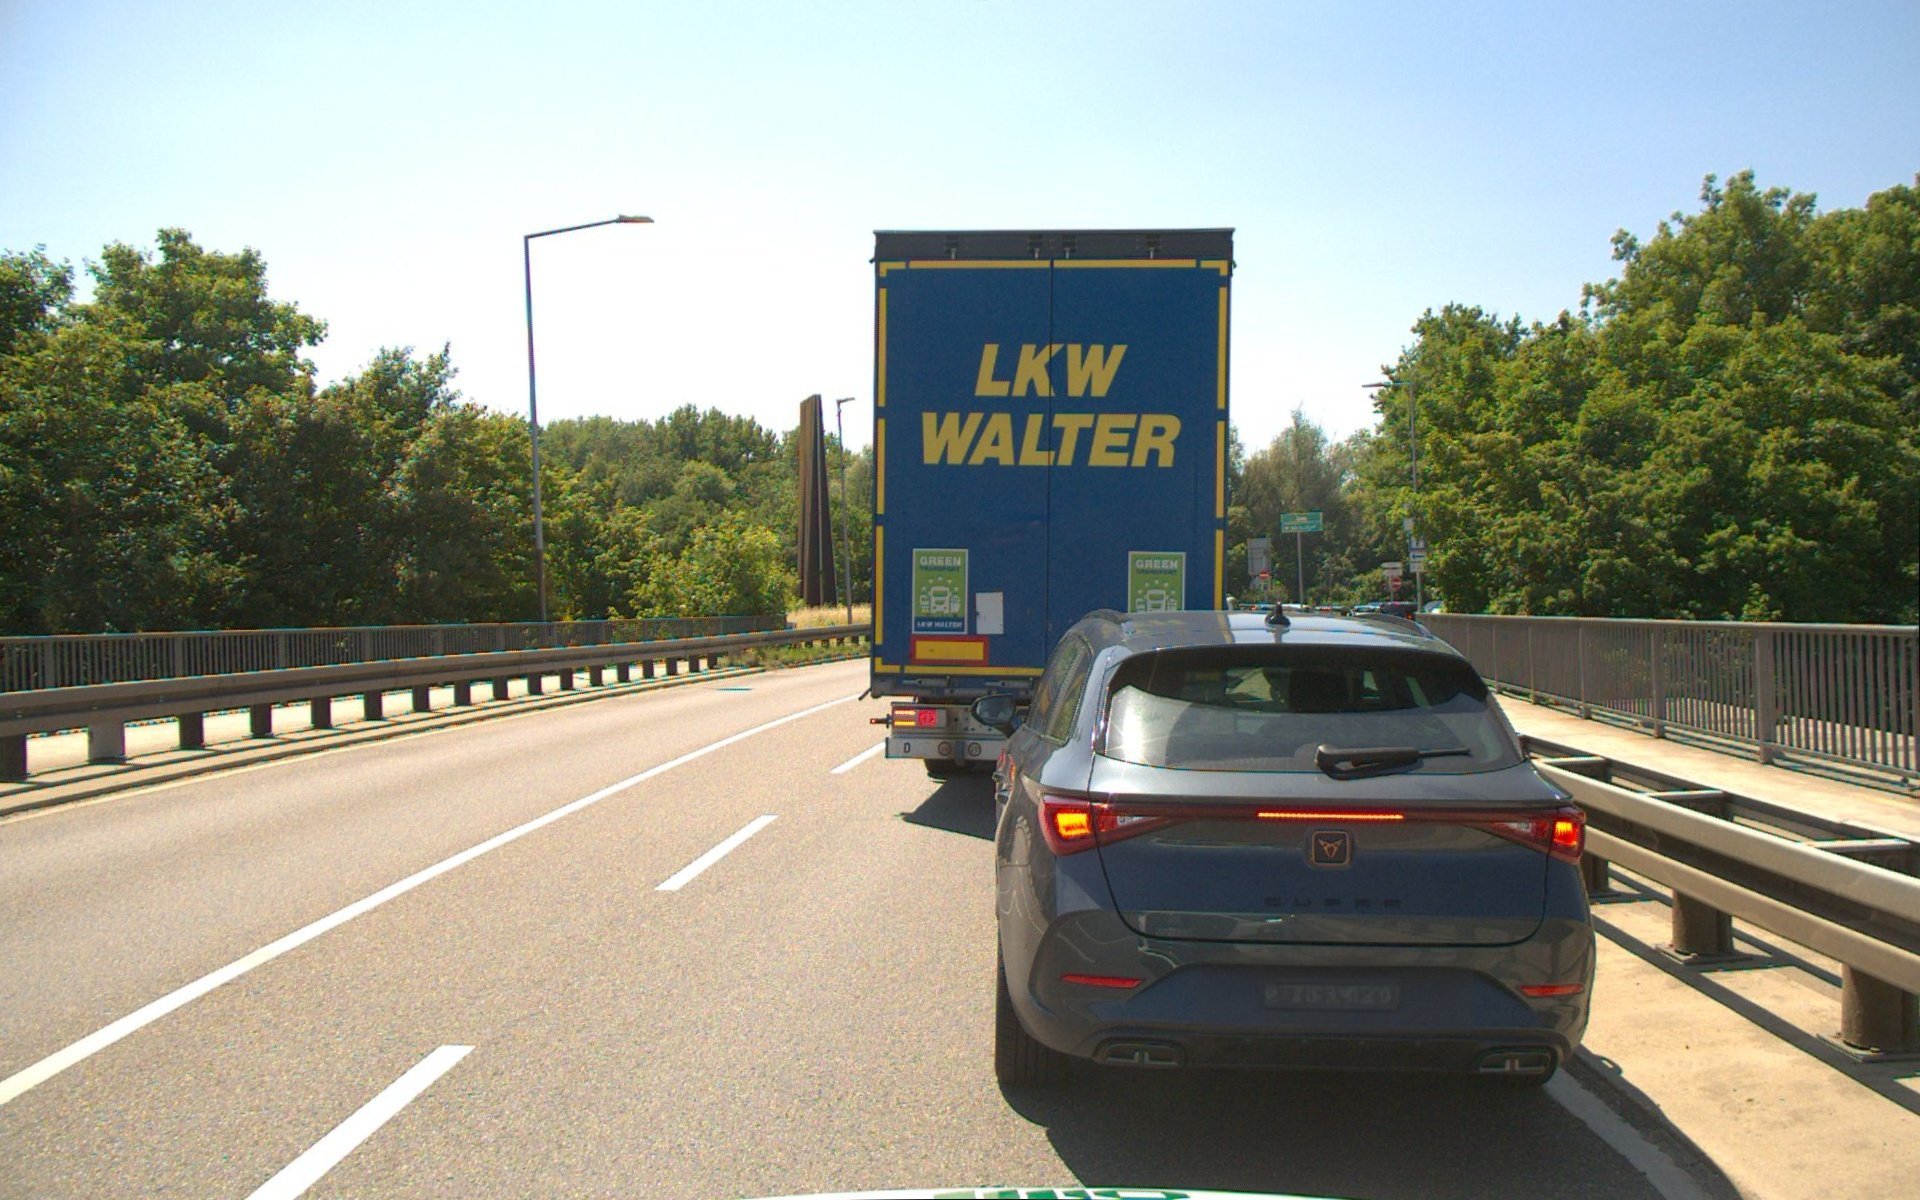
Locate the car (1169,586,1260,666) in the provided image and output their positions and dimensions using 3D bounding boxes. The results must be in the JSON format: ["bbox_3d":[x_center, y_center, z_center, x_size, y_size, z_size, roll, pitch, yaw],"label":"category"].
[{"bbox_3d":[6.367,0.590,41.081,1.684,1.876,4.002,0,1,17],"label":"car"}]

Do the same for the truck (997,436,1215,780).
[{"bbox_3d":[2.312,0.079,25.079,2.843,4.496,6.560,0,0,7],"label":"truck"}]

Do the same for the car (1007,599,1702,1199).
[{"bbox_3d":[0.996,0.739,5.929,1.642,1.481,3.959,0,0,1],"label":"car"}]

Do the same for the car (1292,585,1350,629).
[{"bbox_3d":[14.948,0.306,68.368,1.651,1.791,3.999,0,-1,22],"label":"car"}]

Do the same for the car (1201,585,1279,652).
[{"bbox_3d":[8.071,0.490,47.426,1.684,1.834,4.002,0,0,17],"label":"car"}]

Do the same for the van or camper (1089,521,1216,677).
[{"bbox_3d":[4.032,-0.032,33.673,2.108,2.865,6.393,0,0,11],"label":"van or camper"}]

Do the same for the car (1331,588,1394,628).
[{"bbox_3d":[18.213,0.370,74.661,1.954,1.603,3.996,2,-1,26],"label":"car"}]

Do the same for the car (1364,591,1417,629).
[{"bbox_3d":[21.001,0.496,80.675,1.653,1.791,3.995,0,-1,28],"label":"car"}]

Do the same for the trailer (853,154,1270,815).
[{"bbox_3d":[1.417,-0.820,17.589,2.843,4.496,12.442,0,0,7],"label":"trailer"}]

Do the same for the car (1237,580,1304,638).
[{"bbox_3d":[10.464,0.275,55.542,1.685,1.876,4.002,0,0,18],"label":"car"}]

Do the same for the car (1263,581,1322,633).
[{"bbox_3d":[12.425,0.234,61.686,1.685,1.876,4.002,0,0,18],"label":"car"}]
